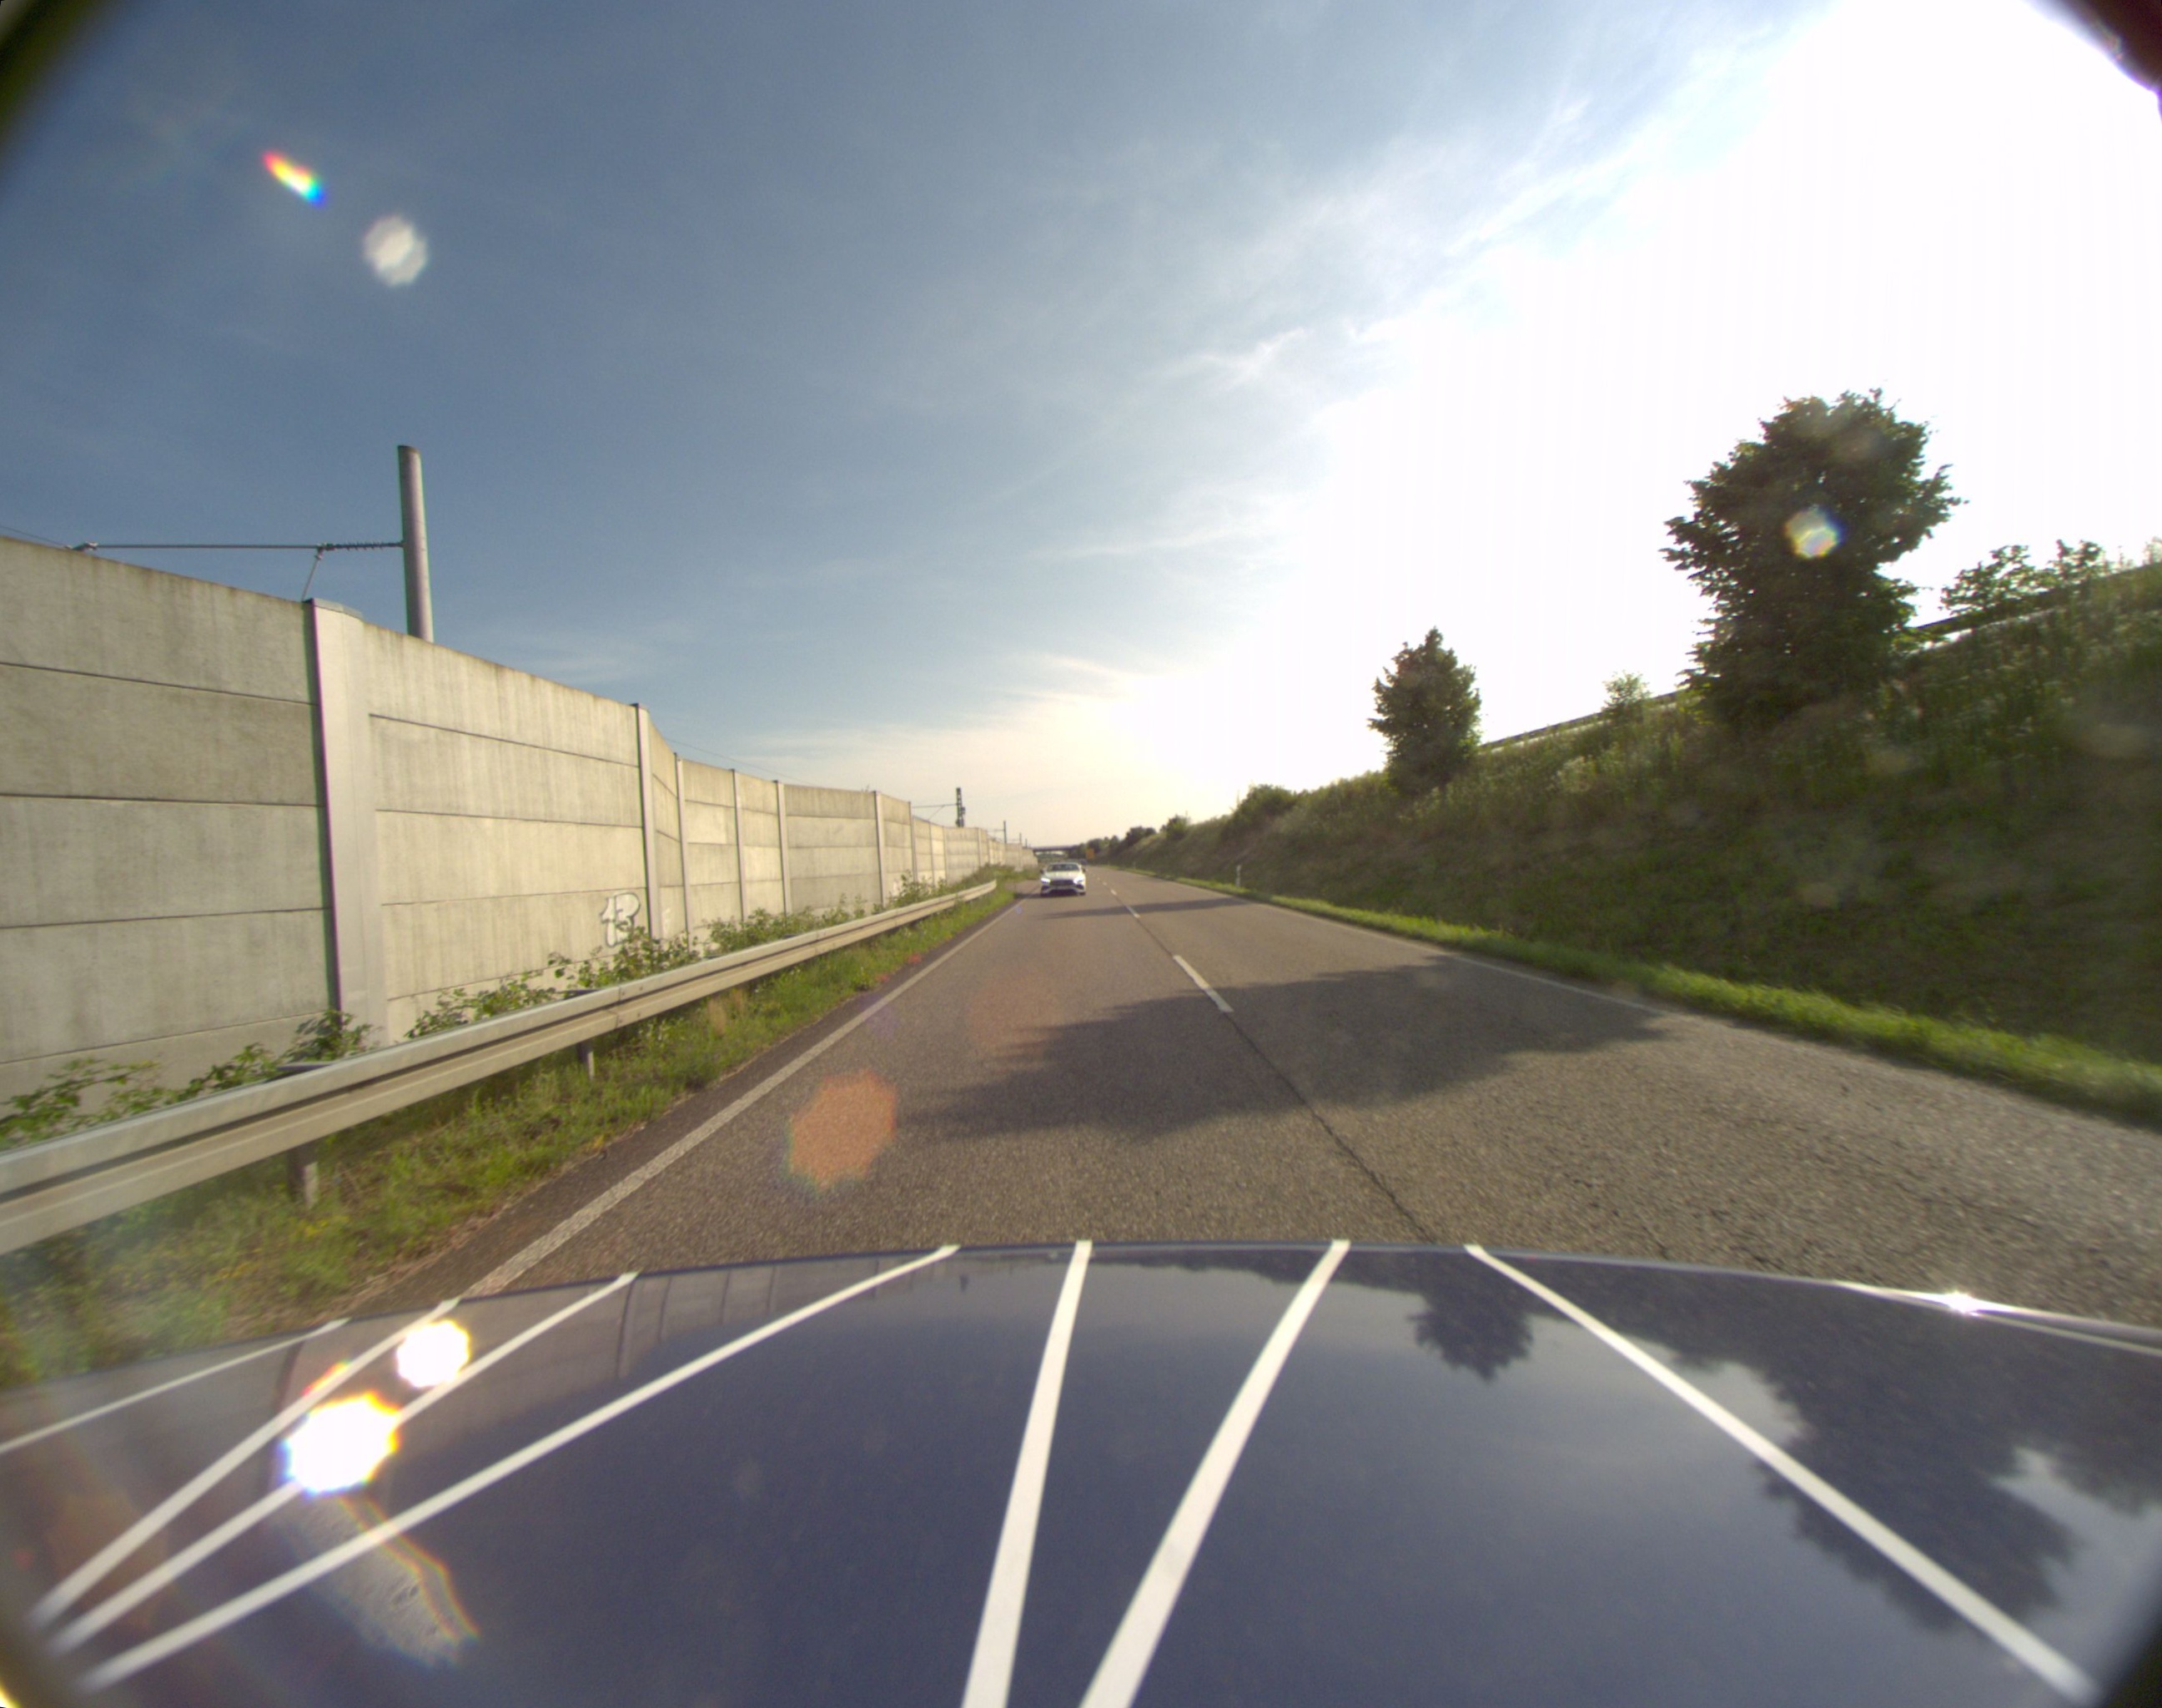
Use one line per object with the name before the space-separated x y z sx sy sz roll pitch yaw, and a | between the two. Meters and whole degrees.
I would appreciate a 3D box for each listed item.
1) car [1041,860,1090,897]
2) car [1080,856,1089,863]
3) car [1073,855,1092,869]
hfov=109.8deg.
car | -0.663 1.009 32.986 1.930 1.398 4.974 -2 0 -1
car | 0.848 1.270 180.720 2.146 1.564 5.339 -2 0 -1
car | 0.125 0.838 82.277 1.930 1.399 4.973 -1 1 0
